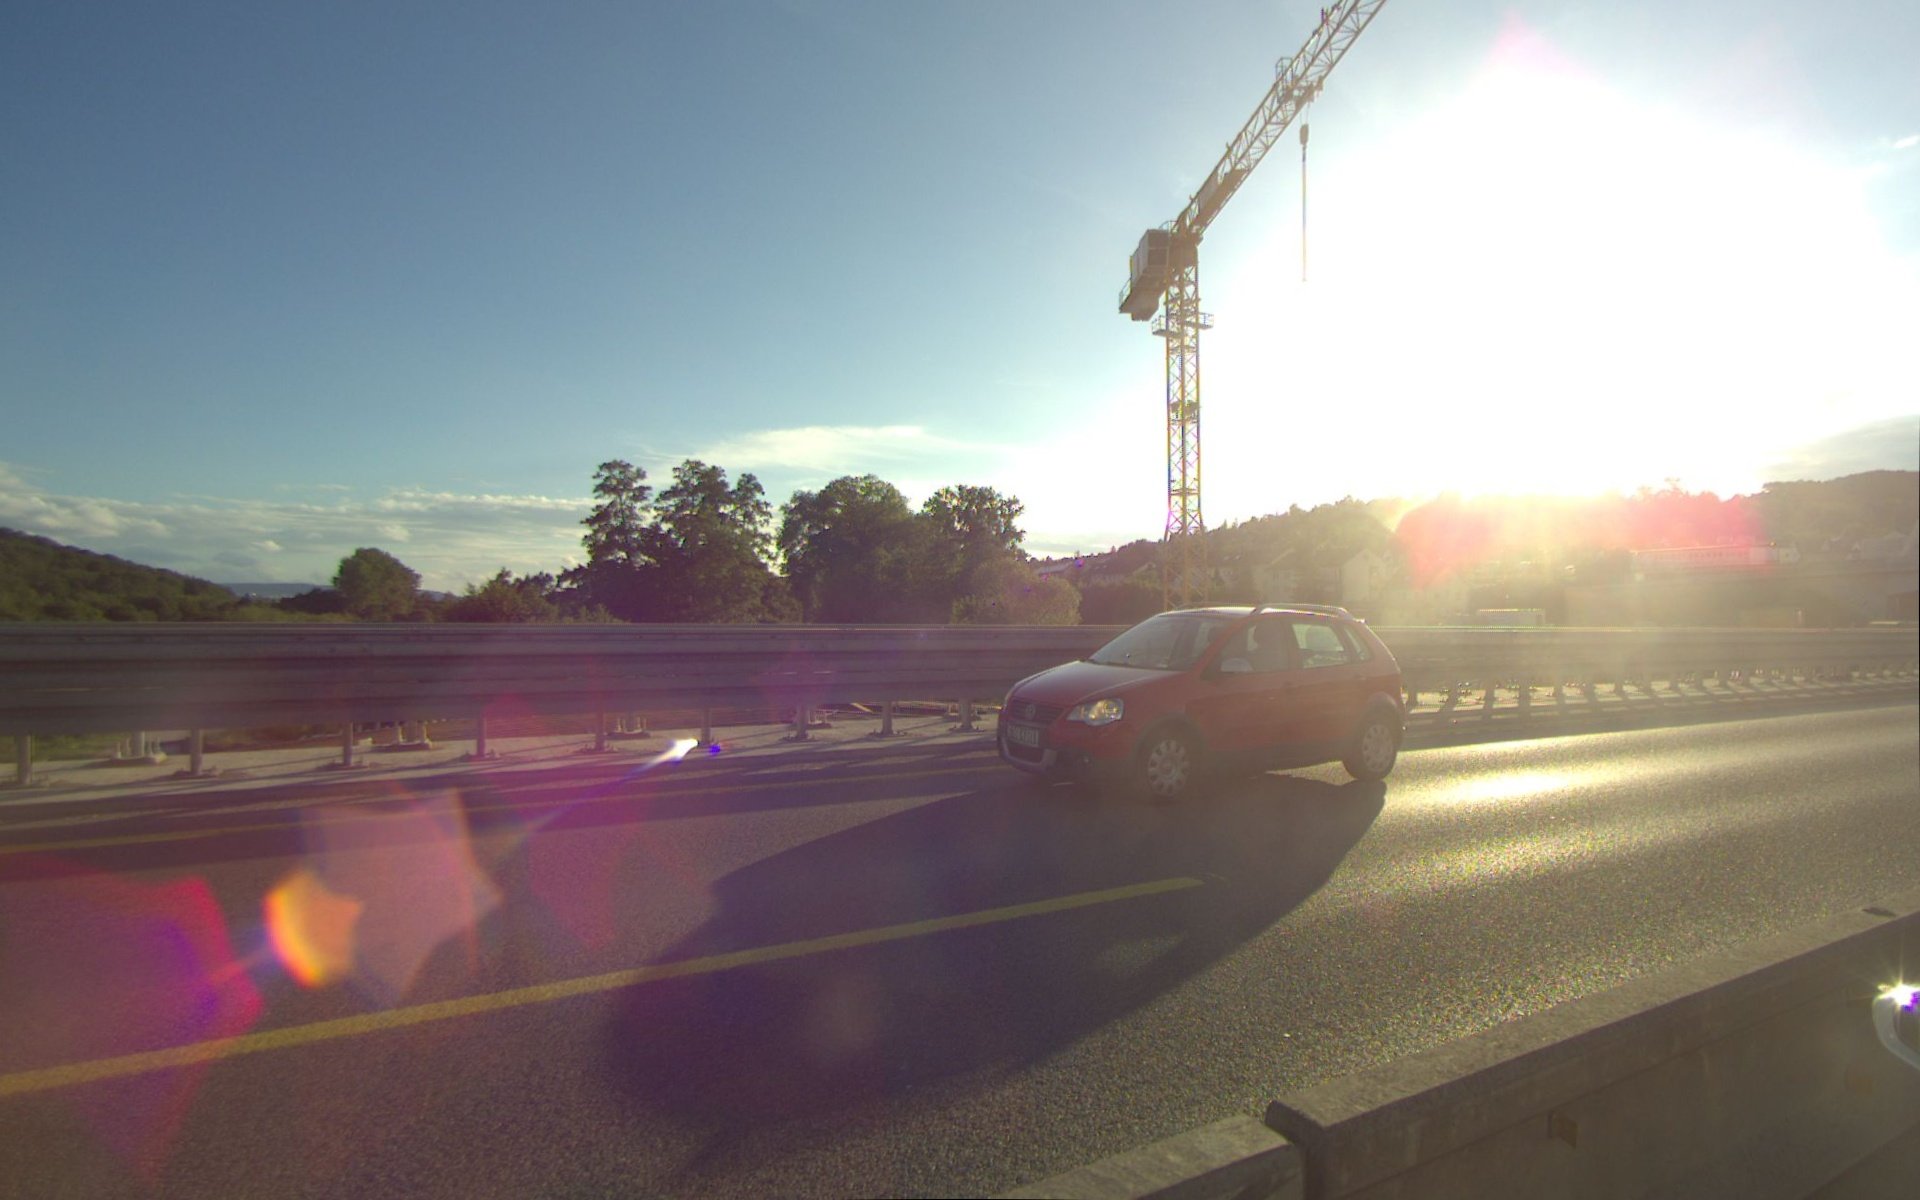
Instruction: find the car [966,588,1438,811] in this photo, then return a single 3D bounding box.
[{"bbox_3d":[2.198,0.743,8.806,4.040,1.572,1.609,1,0,-30],"label":"car"}]
